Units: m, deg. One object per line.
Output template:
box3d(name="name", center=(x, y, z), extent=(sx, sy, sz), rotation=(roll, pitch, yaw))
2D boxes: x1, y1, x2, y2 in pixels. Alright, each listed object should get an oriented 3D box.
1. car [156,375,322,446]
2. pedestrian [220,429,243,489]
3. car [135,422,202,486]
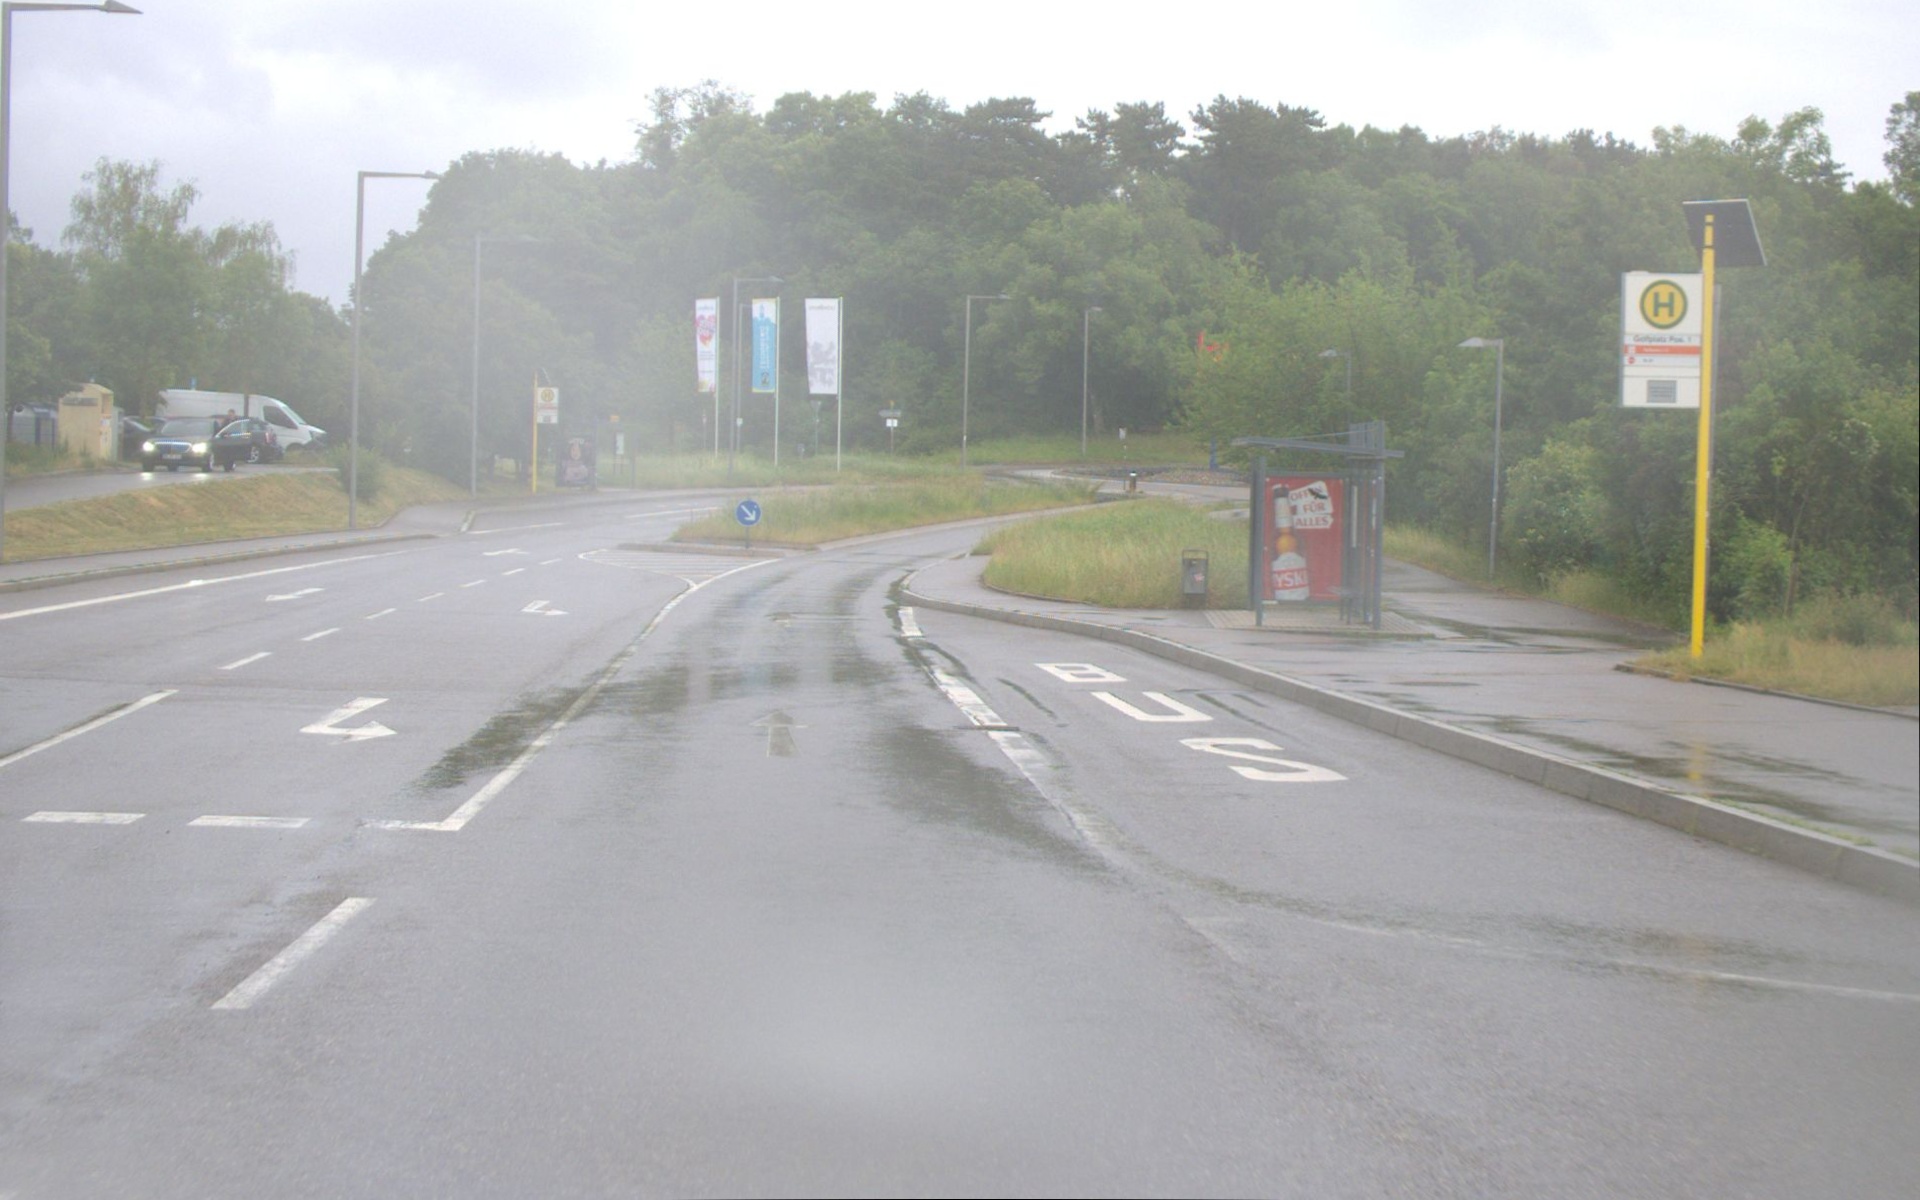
box3d(name="car", center=(-26.345, -6.929, 125.730), extent=(5.675, 2.396, 2.000), rotation=(1, 1, -2))
box3d(name="pedestrian", center=(-20.089, -3.883, 94.775), extent=(0.565, 1.615, 0.637), rotation=(1, 1, -14))
box3d(name="car", center=(-21.620, -3.961, 93.805), extent=(1.688, 1.615, 3.896), rotation=(1, 1, -14))
